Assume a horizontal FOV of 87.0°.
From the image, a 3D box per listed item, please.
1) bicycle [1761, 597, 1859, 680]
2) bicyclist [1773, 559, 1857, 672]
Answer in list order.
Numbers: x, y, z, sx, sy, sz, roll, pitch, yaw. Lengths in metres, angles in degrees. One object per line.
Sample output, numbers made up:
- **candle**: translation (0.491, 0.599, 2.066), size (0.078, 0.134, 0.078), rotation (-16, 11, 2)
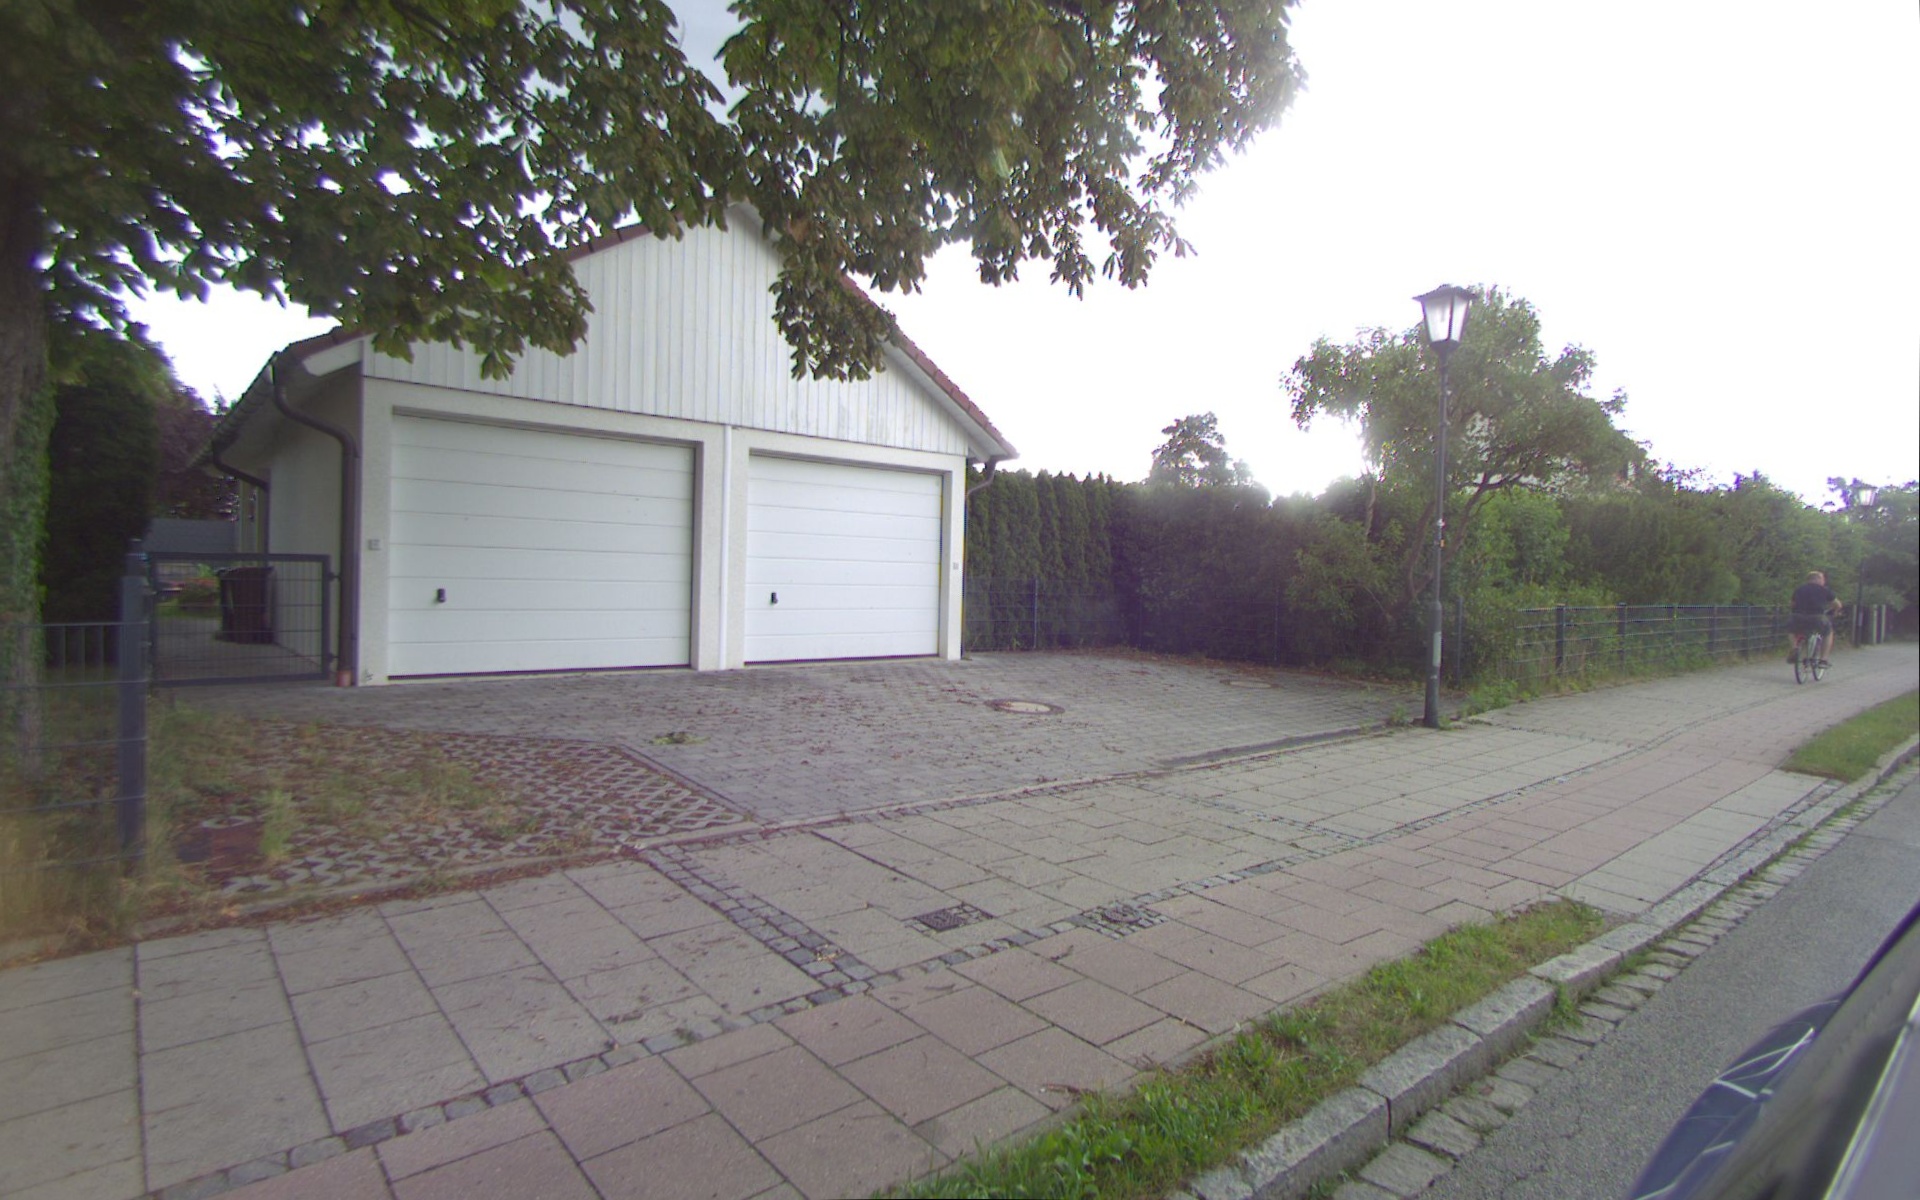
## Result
- **bicycle**: translation (13.036, 0.565, 15.504), size (1.812, 1.157, 0.766), rotation (1, 3, -39)
- **bicyclist**: translation (13.115, 0.216, 15.527), size (0.874, 1.652, 0.738), rotation (0, 3, -38)
